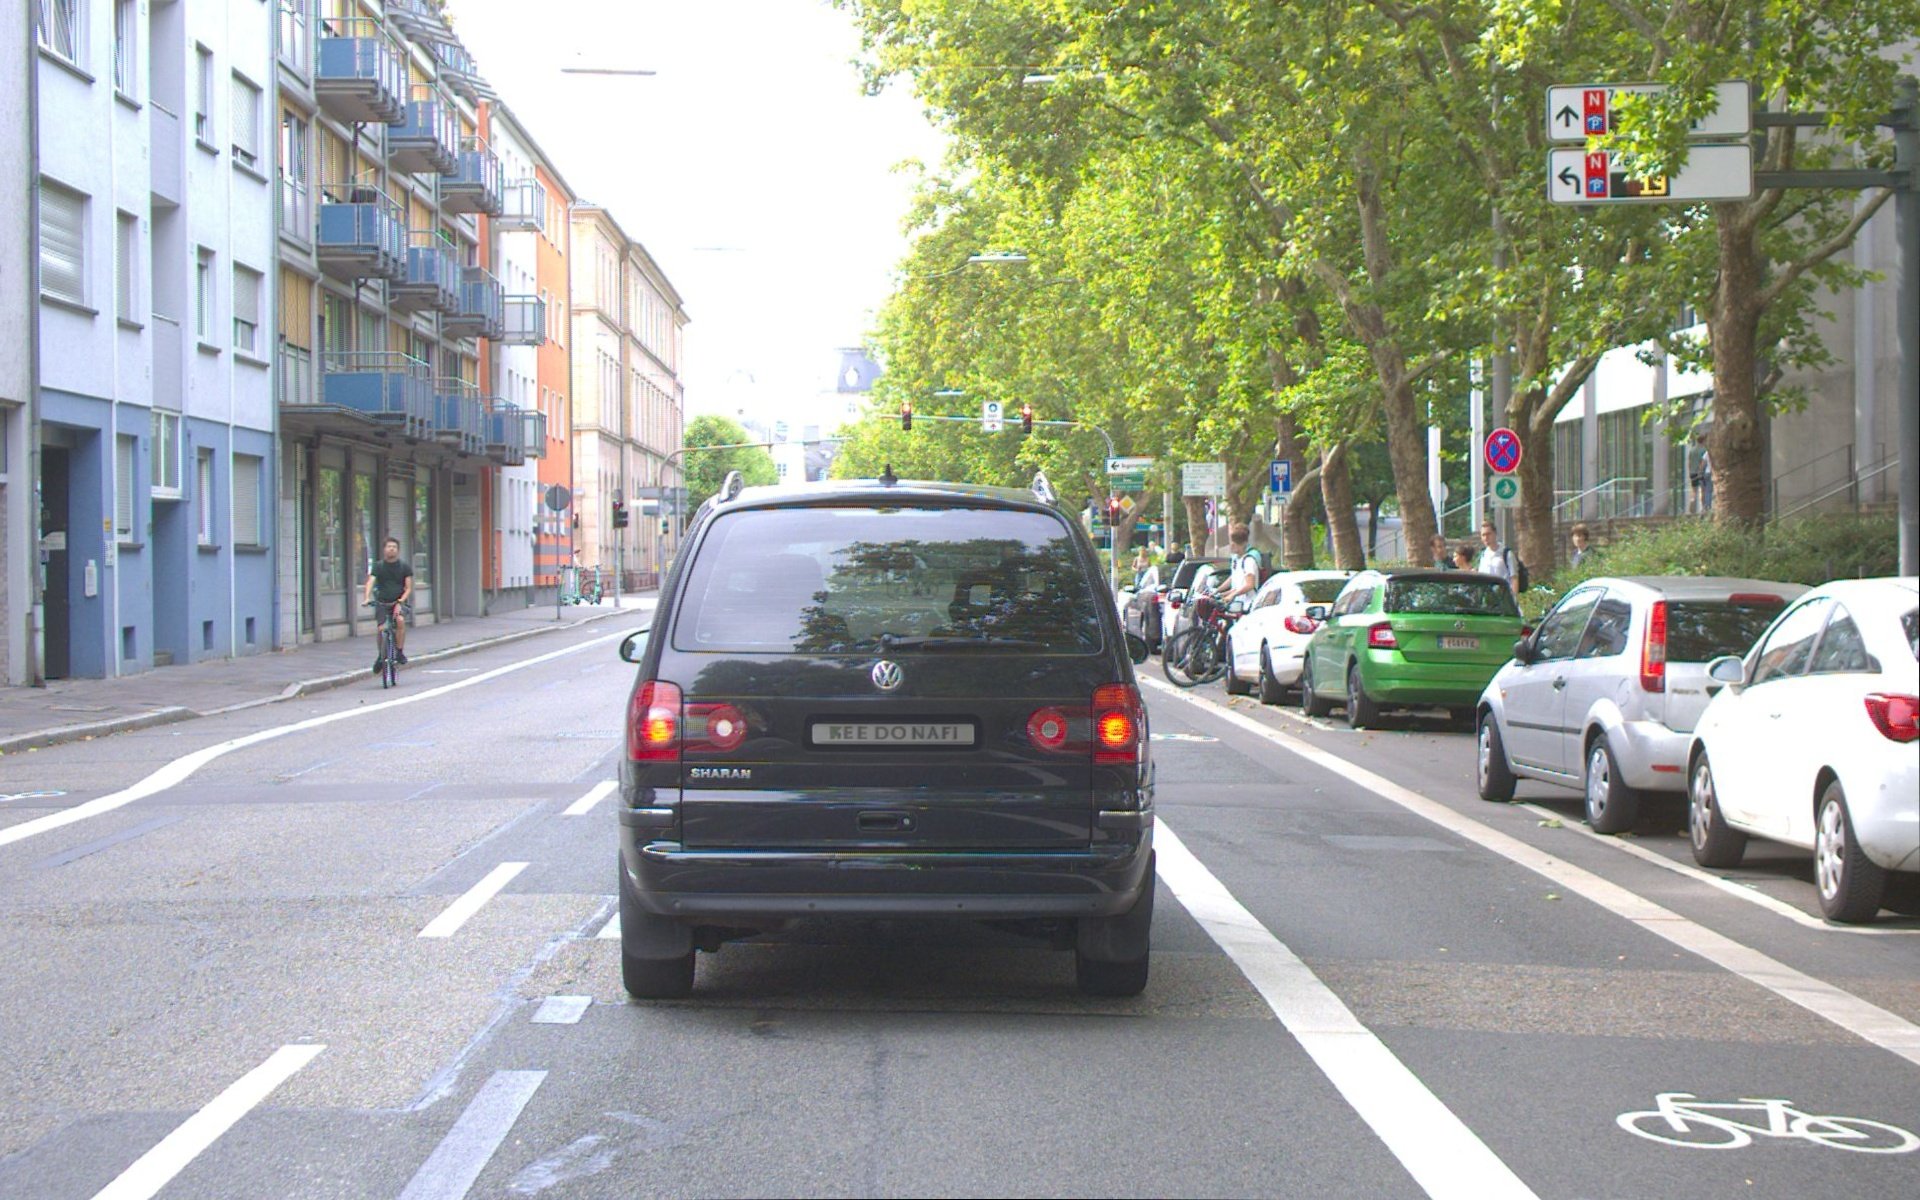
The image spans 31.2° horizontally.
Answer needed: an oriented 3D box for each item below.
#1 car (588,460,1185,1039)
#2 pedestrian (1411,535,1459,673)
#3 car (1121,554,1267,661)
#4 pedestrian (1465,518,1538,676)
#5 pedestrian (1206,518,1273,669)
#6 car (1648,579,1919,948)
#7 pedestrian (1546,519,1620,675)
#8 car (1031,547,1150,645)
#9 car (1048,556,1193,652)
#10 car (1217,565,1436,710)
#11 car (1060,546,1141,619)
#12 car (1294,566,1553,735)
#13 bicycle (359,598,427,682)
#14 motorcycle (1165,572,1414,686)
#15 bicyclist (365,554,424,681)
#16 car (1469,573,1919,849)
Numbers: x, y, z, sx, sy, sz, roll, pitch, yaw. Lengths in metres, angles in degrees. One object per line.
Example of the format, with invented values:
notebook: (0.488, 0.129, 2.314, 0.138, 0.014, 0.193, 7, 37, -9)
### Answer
car: (-0.346, 0.437, 12.366, 1.812, 1.760, 3.738, 0, 1, -4)
pedestrian: (5.798, 0.045, 41.956, 0.510, 1.674, 0.516, 0, 1, 0)
car: (3.468, 0.081, 51.536, 1.641, 1.482, 3.513, 2, 1, -5)
pedestrian: (6.298, -0.037, 40.022, 0.767, 1.825, 0.516, 0, 1, 0)
pedestrian: (3.390, -0.080, 41.768, 0.767, 1.825, 0.516, 0, 1, 0)
car: (4.465, 0.648, 15.673, 1.675, 1.389, 4.461, 2, 1, -1)
pedestrian: (7.339, -0.036, 40.528, 0.767, 1.825, 0.516, 0, 1, 0)
car: (2.297, -0.095, 61.333, 1.743, 1.683, 3.805, 0, 1, -4)
car: (2.604, 0.042, 56.595, 1.868, 1.503, 4.001, 0, 1, -5)
car: (3.837, 0.359, 36.478, 1.641, 1.390, 3.513, 2, 1, -5)
car: (3.461, -0.454, 85.152, 1.788, 1.766, 4.000, 0, 1, -1)
car: (4.220, 0.428, 31.769, 1.641, 1.409, 3.417, 2, 1, -5)
bicycle: (-7.213, 0.517, 43.774, 0.631, 1.030, 2.015, 1, -2, -3)
motorcycle: (3.853, 0.333, 40.325, 2.837, 1.320, 0.765, 0, 1, -1)
bicyclist: (-7.191, 0.229, 43.742, 0.653, 1.606, 0.656, 1, -2, -3)
car: (4.212, 0.585, 20.213, 1.641, 1.409, 3.417, 2, 1, -5)
